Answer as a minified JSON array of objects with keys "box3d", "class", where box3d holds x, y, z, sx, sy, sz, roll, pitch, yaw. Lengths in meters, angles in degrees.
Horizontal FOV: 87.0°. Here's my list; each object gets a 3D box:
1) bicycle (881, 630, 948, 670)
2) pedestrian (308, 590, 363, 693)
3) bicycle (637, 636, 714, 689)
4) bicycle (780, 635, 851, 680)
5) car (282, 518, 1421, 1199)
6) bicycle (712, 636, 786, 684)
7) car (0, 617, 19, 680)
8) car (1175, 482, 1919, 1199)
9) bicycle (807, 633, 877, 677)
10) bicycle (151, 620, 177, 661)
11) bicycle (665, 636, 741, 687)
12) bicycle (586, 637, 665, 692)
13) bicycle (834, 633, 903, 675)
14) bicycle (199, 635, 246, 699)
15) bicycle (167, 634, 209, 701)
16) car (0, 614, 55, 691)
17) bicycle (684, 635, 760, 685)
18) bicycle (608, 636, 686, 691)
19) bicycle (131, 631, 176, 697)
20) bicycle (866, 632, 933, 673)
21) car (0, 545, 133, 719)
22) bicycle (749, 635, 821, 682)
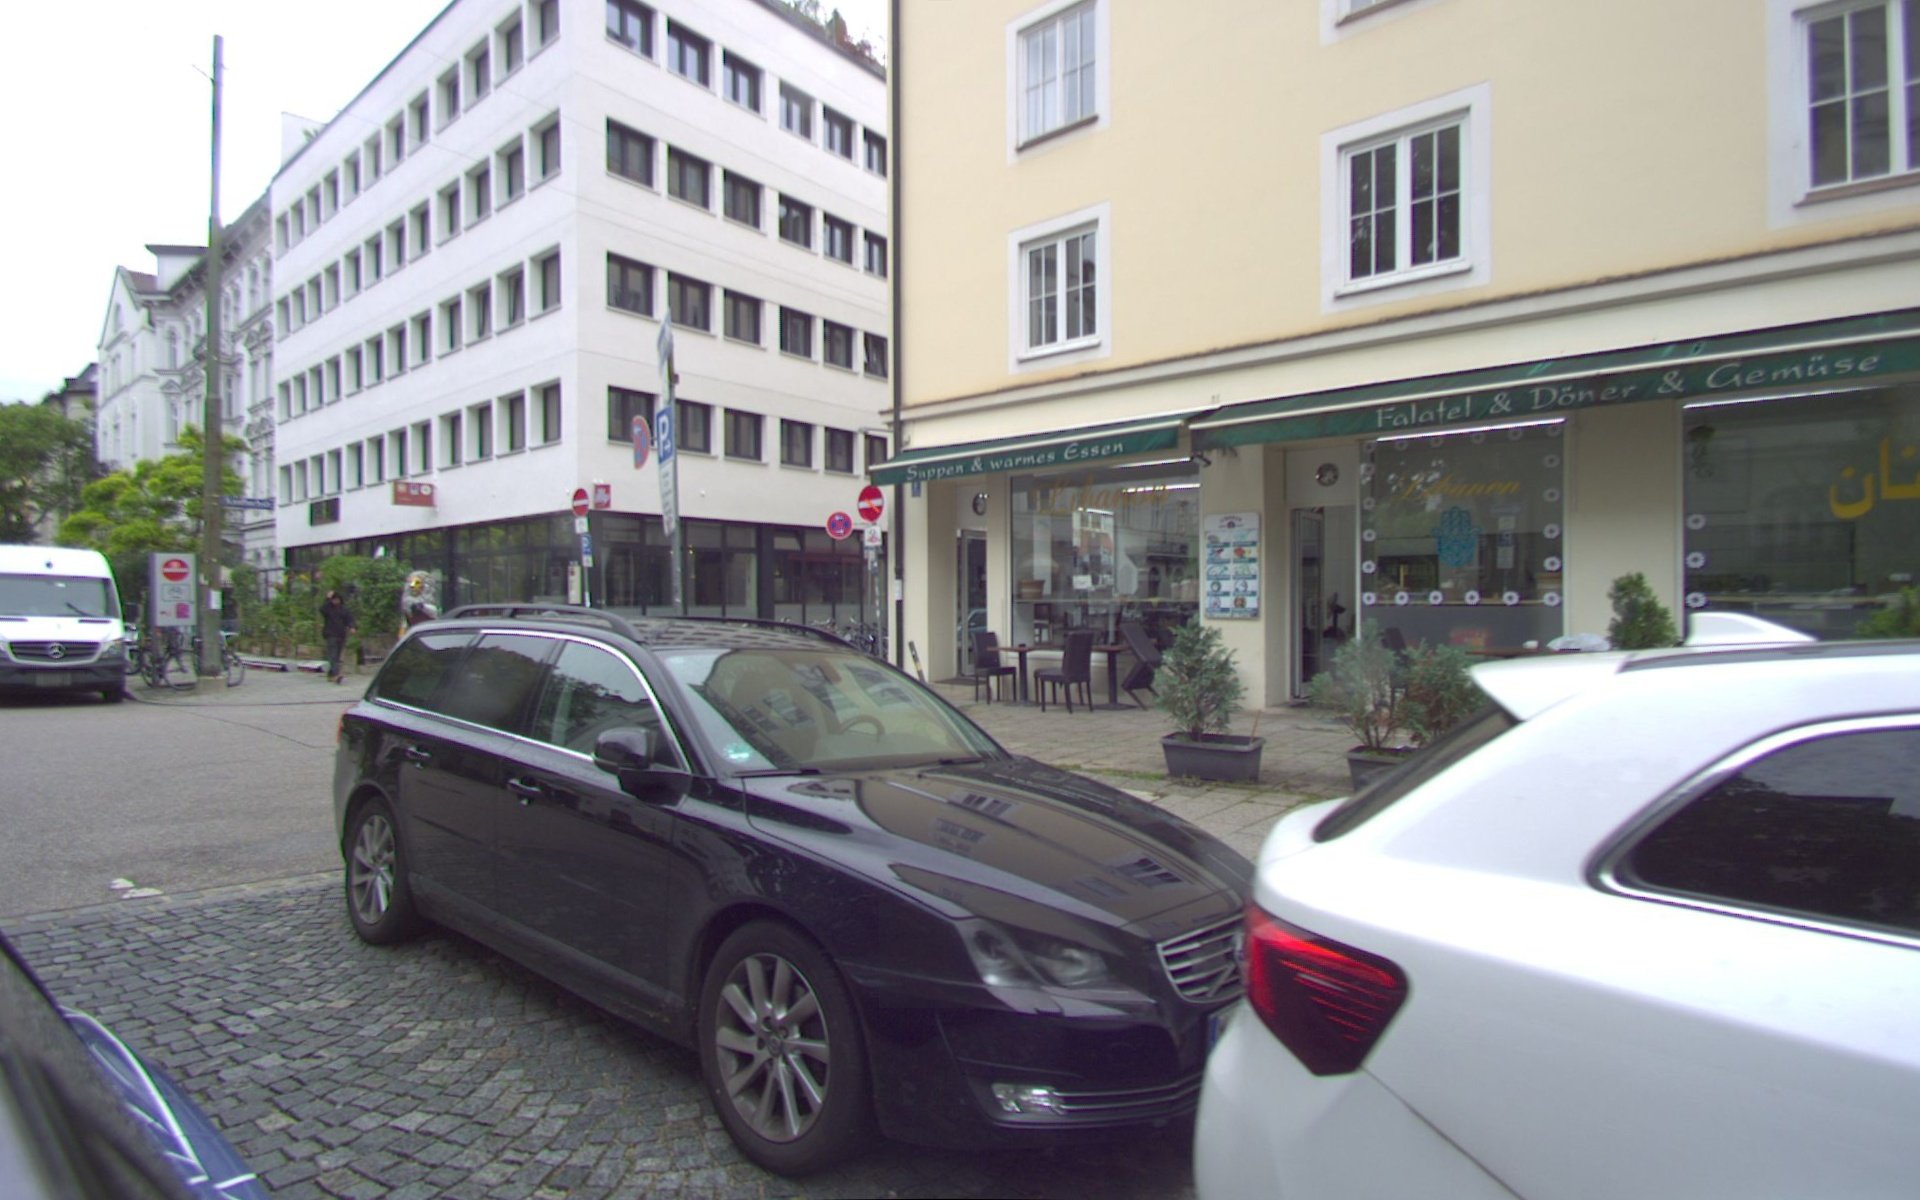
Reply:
[{"box3d":[-1.201,1.295,26.406,1.891,0.975,0.394,-1,0,36],"class":"bicycle"},{"box3d":[-11.614,0.754,18.813,0.812,1.854,0.608,-1,-1,35],"class":"pedestrian"},{"box3d":[-5.694,1.222,20.171,1.891,0.975,0.394,-1,0,36],"class":"bicycle"},{"box3d":[-3.363,1.308,23.430,1.891,0.975,0.394,-1,0,36],"class":"bicycle"},{"box3d":[-0.907,0.659,4.103,4.744,1.598,1.833,-1,0,40],"class":"car"},{"box3d":[-4.552,1.276,21.786,1.891,0.975,0.394,-1,0,36],"class":"bicycle"},{"box3d":[-24.471,1.141,24.786,4.472,1.476,1.707,-1,-3,43],"class":"car"},{"box3d":[2.582,0.664,0.638,4.539,1.548,1.755,-1,-1,42],"class":"car"},{"box3d":[-2.837,1.302,24.117,1.891,0.975,0.394,-1,0,36],"class":"bicycle"},{"box3d":[-24.276,1.224,30.859,1.911,1.183,0.356,-1,0,44],"class":"bicycle"},{"box3d":[-5.285,1.237,20.756,1.891,0.975,0.394,-1,0,36],"class":"bicycle"},{"box3d":[-6.375,1.212,19.252,1.891,0.975,0.394,-1,0,36],"class":"bicycle"},{"box3d":[-2.269,1.309,24.859,1.891,0.975,0.394,-1,0,36],"class":"bicycle"},{"box3d":[-13.597,1.204,18.637,1.814,1.099,0.283,-1,0,40],"class":"bicycle"},{"box3d":[-13.934,1.189,18.255,1.806,1.135,0.252,-1,0,41],"class":"bicycle"},{"box3d":[-20.388,1.059,21.135,3.978,1.494,1.645,-1,0,40],"class":"car"},{"box3d":[-4.993,1.244,21.170,1.891,0.975,0.394,-1,0,36],"class":"bicycle"},{"box3d":[-6.089,1.211,19.628,1.891,0.975,0.394,-1,0,36],"class":"bicycle"},{"box3d":[-14.376,1.120,18.032,1.814,1.099,0.283,-1,-1,40],"class":"bicycle"},{"box3d":[-1.568,1.322,25.853,1.891,0.975,0.394,-1,0,36],"class":"bicycle"},{"box3d":[-16.103,0.517,17.561,5.795,2.594,1.955,-1,-2,44],"class":"car"},{"box3d":[-3.931,1.297,22.651,1.891,0.975,0.394,-1,0,36],"class":"bicycle"}]
